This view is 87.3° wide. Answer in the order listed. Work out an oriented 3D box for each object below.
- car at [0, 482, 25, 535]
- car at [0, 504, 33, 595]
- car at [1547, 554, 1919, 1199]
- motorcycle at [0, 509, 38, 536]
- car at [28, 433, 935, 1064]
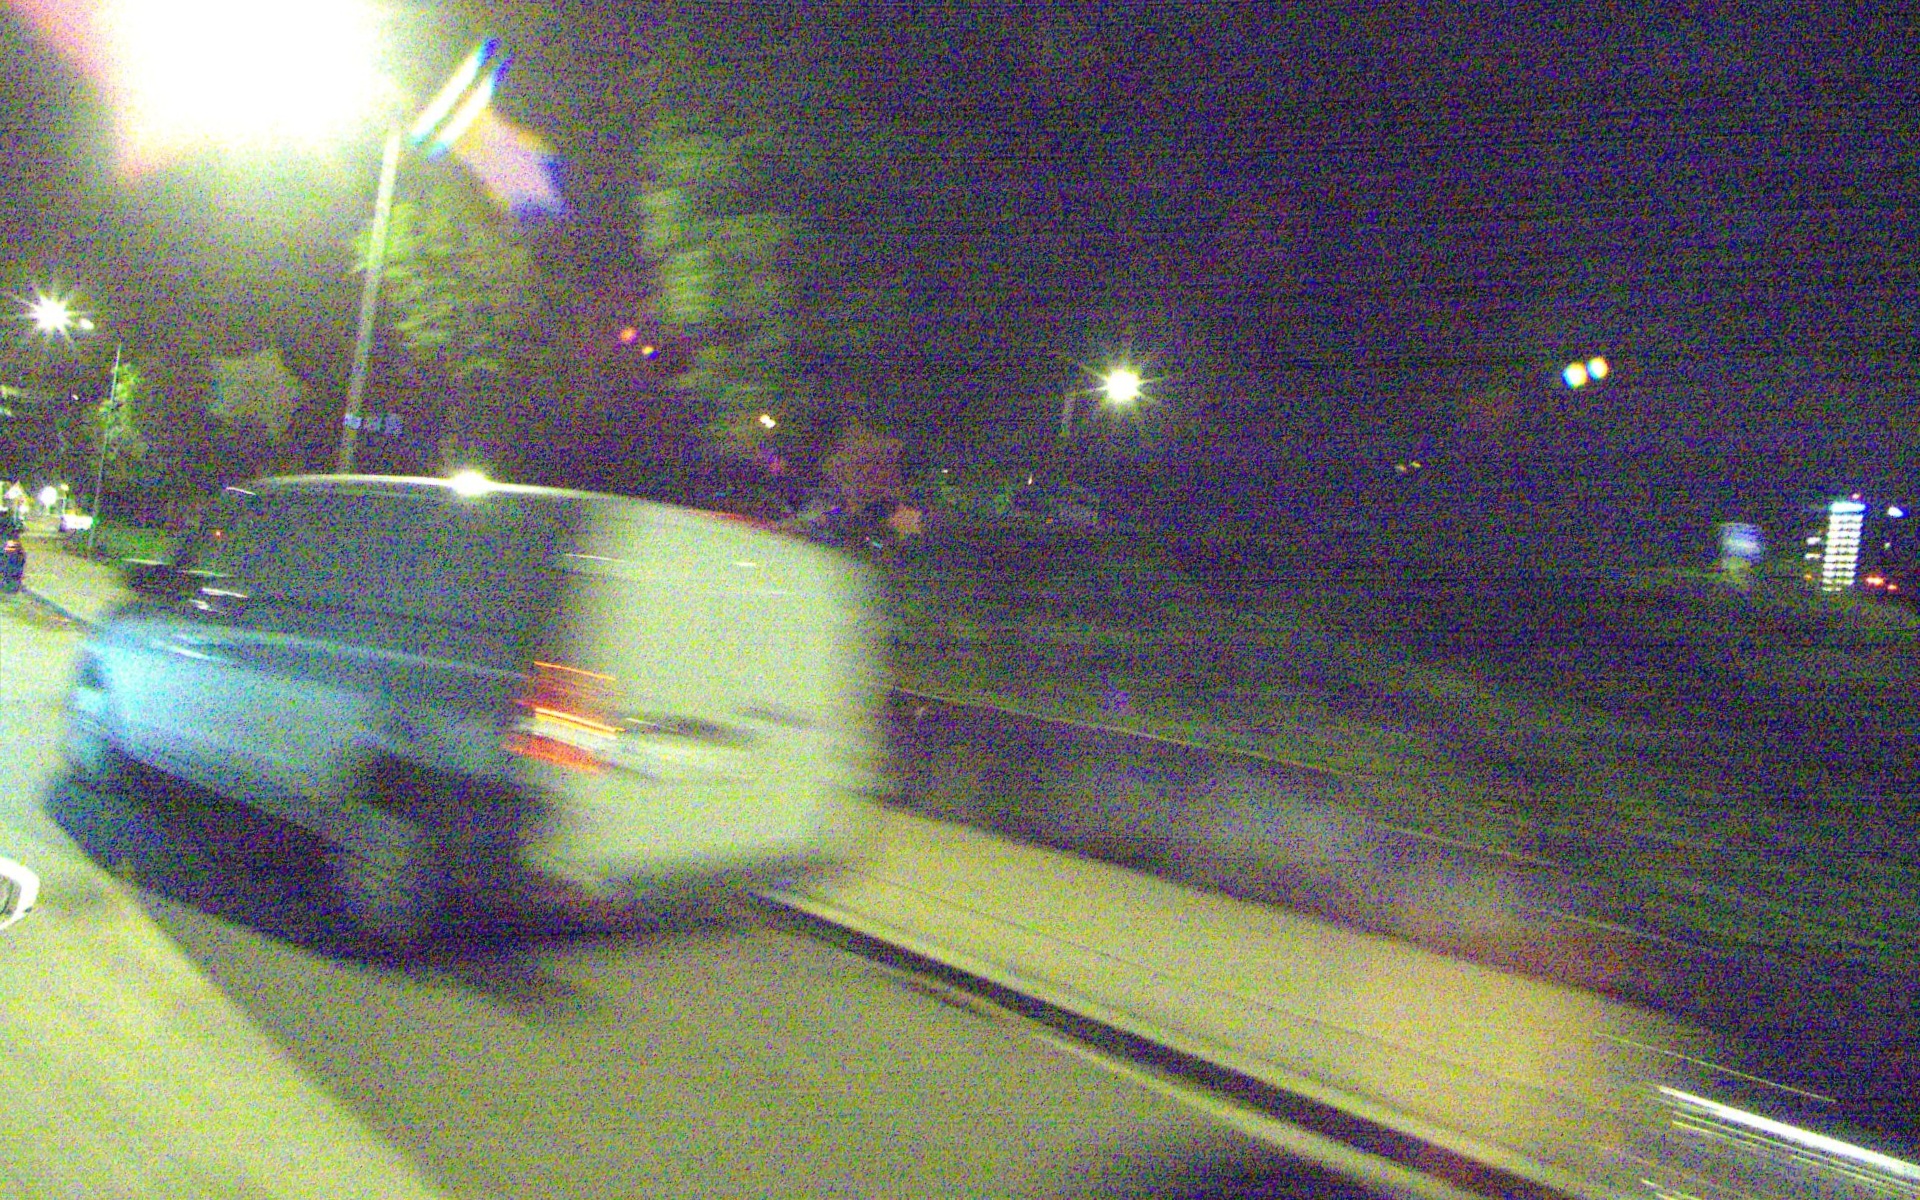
[{"bbox_3d":[-49.356,-4.764,50.982,2.012,2.555,5.991,9,-3,-37],"label":"car"},{"bbox_3d":[-18.522,-1.119,18.460,3.771,1.528,1.609,6,-4,40],"label":"car"},{"bbox_3d":[3.308,1.110,1.309,4.245,1.800,1.733,6,-2,32],"label":"car"},{"bbox_3d":[-51.646,-4.269,54.656,2.148,1.197,0.768,9,-2,-6],"label":"motorcycle"},{"bbox_3d":[-2.960,0.338,5.604,5.269,2.037,1.996,7,-1,34],"label":"car"}]
